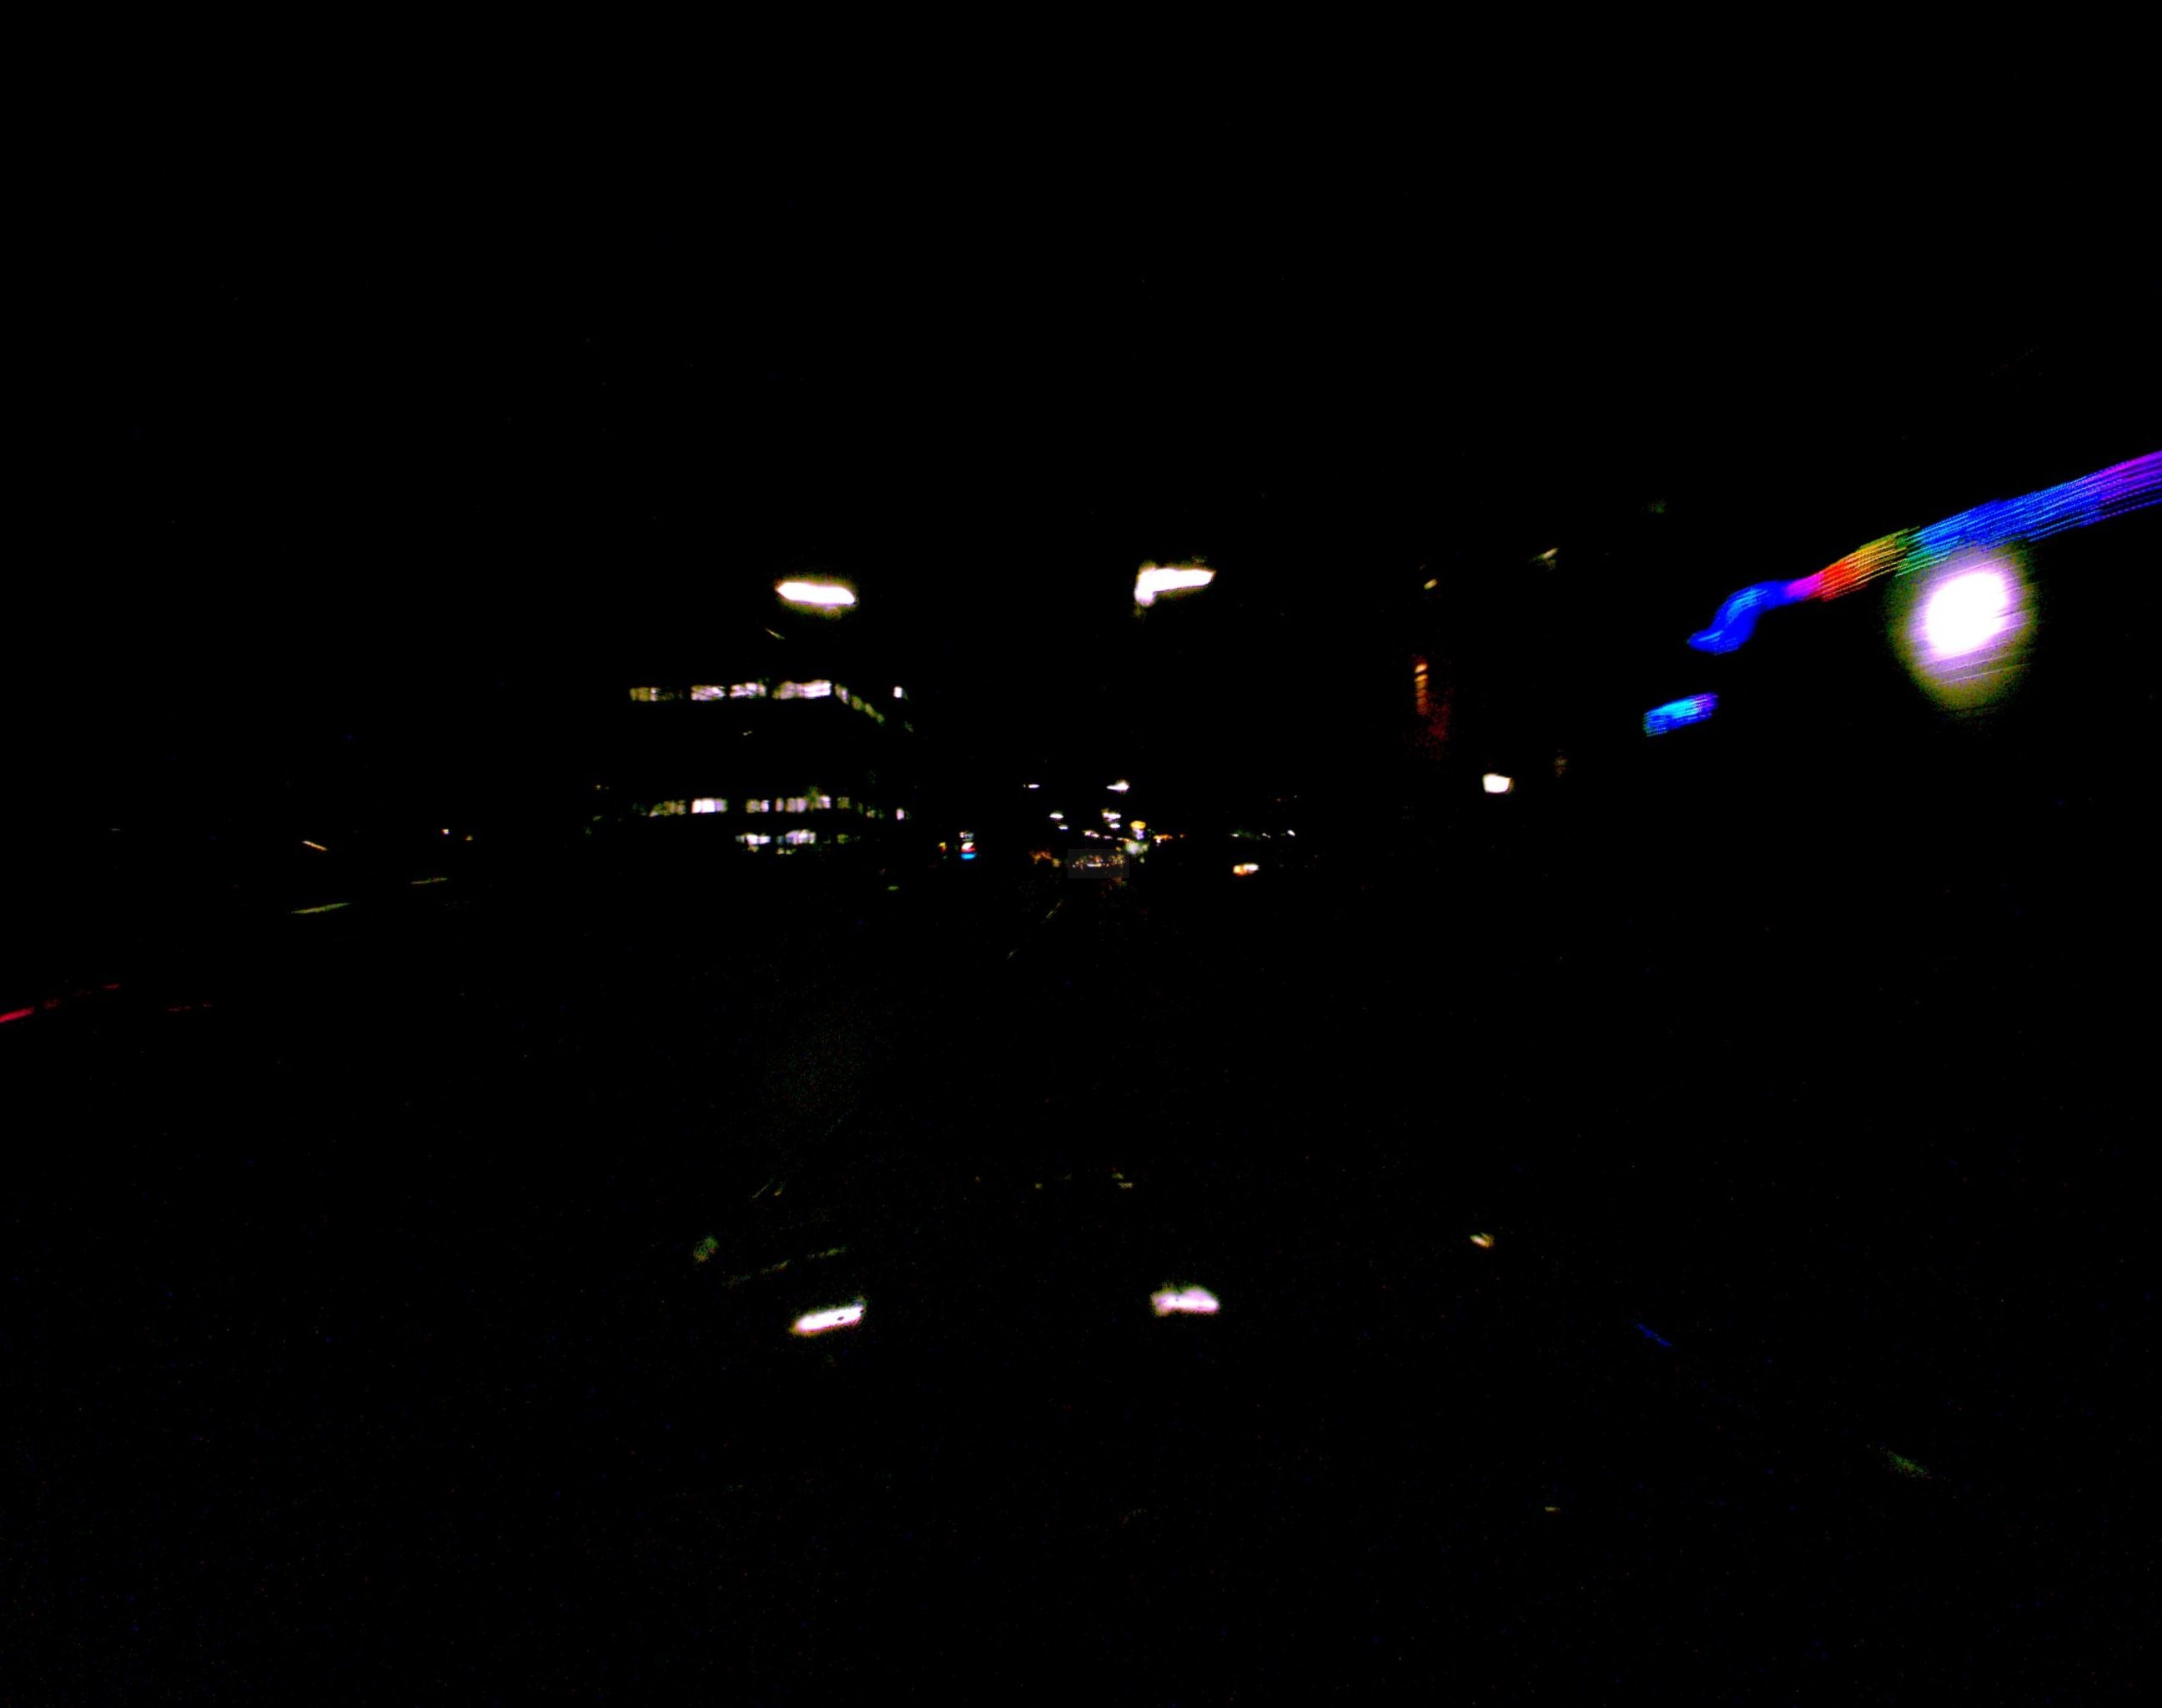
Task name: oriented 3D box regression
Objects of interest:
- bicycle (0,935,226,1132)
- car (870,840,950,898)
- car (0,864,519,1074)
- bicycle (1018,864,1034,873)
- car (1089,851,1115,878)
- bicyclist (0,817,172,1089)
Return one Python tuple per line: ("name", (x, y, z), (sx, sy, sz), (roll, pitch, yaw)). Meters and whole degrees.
("bicycle", (-6.957, 1.170, 5.255), (0.779, 1.082, 1.919), (-3, -1, 2))
("car", (-8.310, 0.676, 40.261), (2.176, 2.591, 6.398), (-1, 0, 4))
("car", (-8.831, 0.954, 8.903), (1.961, 1.655, 4.604), (1, -1, 3))
("bicycle", (-6.887, 1.862, 101.815), (1.847, 1.077, 0.628), (-1, -1, 1))
("car", (1.843, 0.929, 73.759), (2.237, 2.361, 4.393), (-1, -1, 0))
("bicyclist", (-6.988, 0.626, 5.271), (0.779, 1.655, 1.206), (-3, -1, 2))
